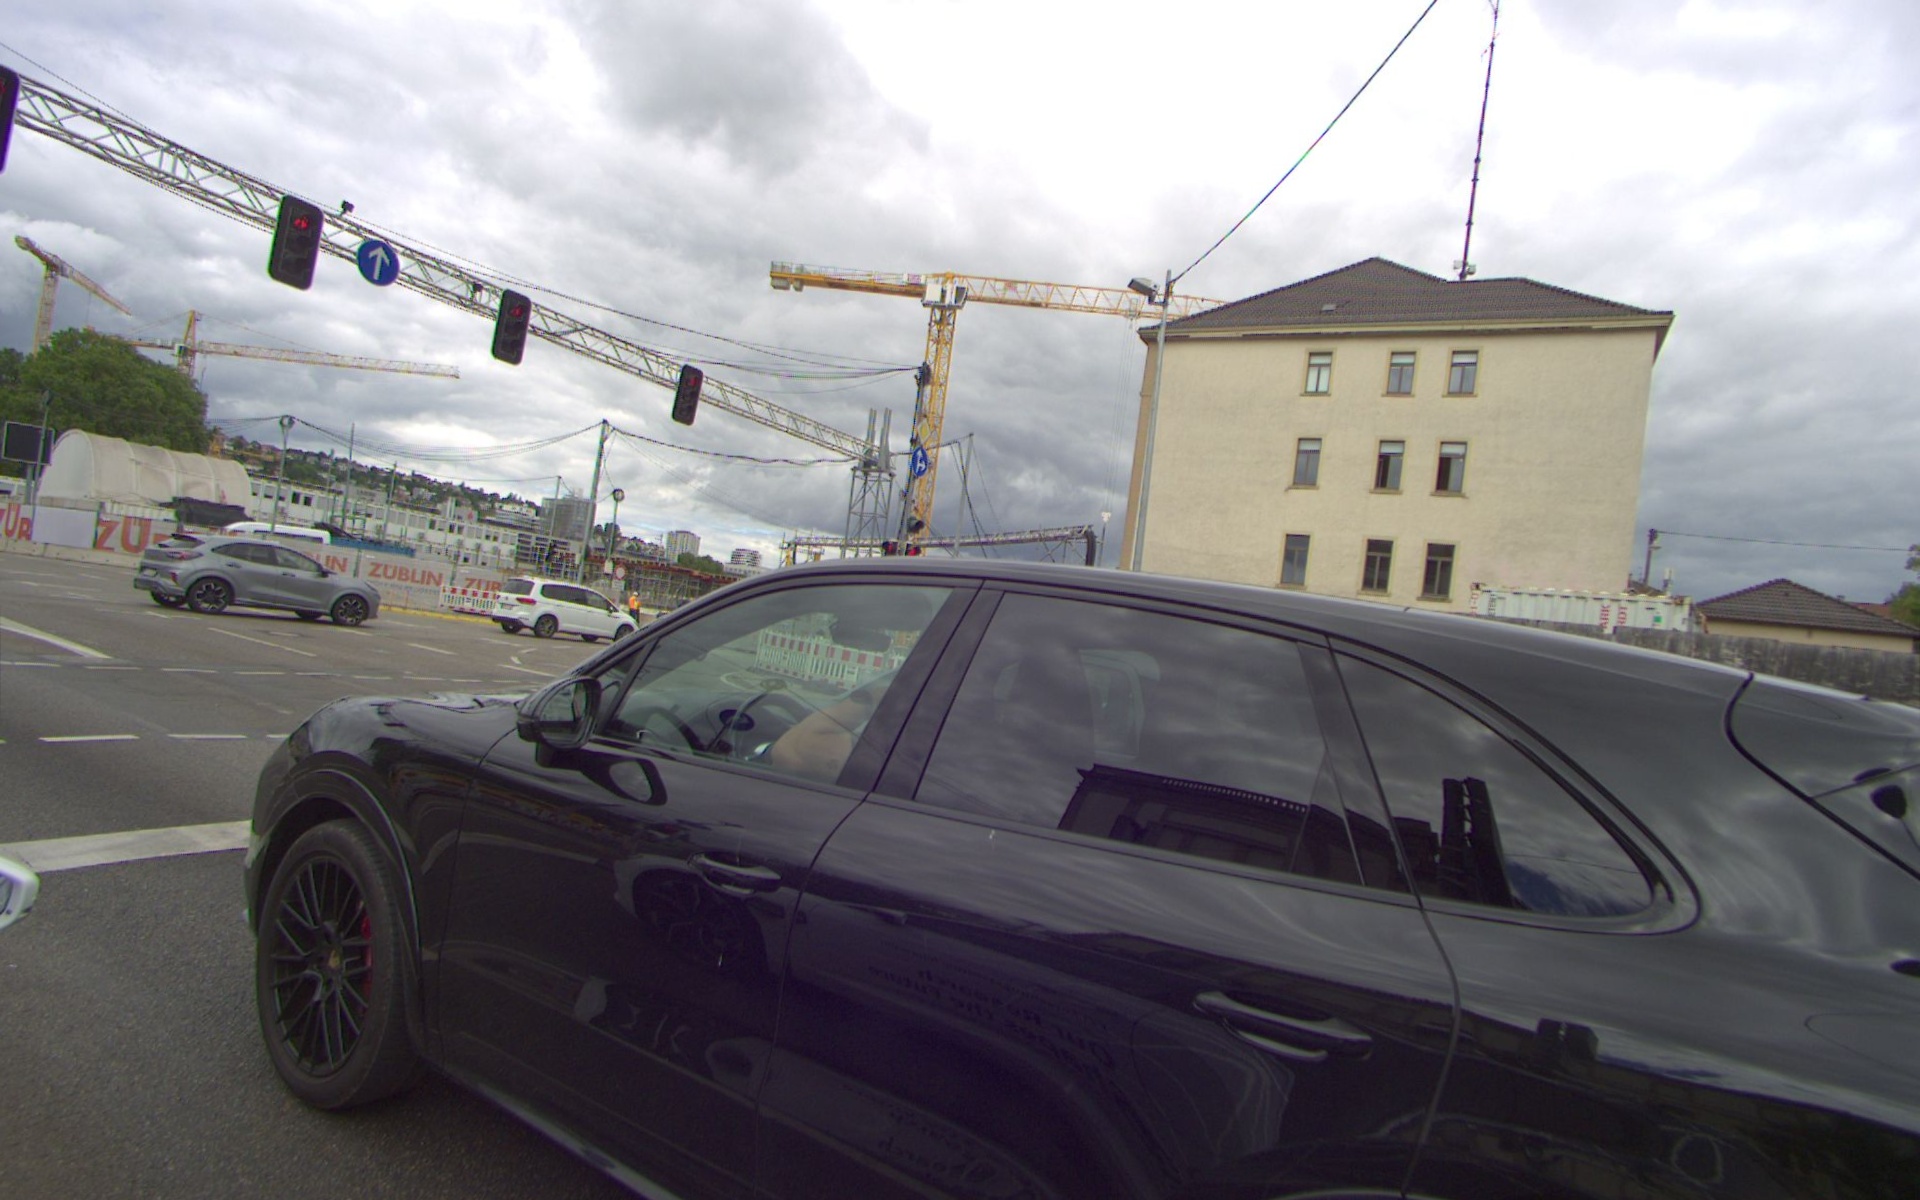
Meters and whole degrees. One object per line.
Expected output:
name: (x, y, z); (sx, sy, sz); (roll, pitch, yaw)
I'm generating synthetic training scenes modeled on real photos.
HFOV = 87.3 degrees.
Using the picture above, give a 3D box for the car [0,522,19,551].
car: (-63.466, -4.365, 64.798); (1.974, 1.747, 3.981); (6, -3, 43)

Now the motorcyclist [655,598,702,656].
motorcyclist: (-8.406, 0.811, 30.062); (0.804, 1.589, 0.880); (6, -1, 32)

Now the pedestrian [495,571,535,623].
pedestrian: (-17.315, -0.107, 39.130); (1.040, 1.869, 0.781); (8, -1, -42)

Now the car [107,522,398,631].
car: (-14.199, -0.408, 20.473); (1.966, 1.557, 4.305); (6, -2, 29)

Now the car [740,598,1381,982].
car: (0.587, 0.996, 6.550); (3.587, 1.527, 1.825); (6, -2, 33)

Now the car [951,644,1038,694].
car: (1.613, 3.166, 45.530); (1.967, 1.826, 4.279); (6, -2, 31)

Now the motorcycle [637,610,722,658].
motorcycle: (-8.376, 1.045, 30.152); (0.804, 1.168, 2.427); (6, -2, 32)

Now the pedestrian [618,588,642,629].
pedestrian: (-17.631, 0.450, 53.825); (0.855, 2.037, 0.677); (6, -1, 44)

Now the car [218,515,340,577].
car: (-29.517, -2.320, 43.642); (3.976, 2.037, 1.976); (9, -2, -43)

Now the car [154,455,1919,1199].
car: (0.006, 0.687, 2.714); (4.505, 1.687, 1.996); (6, -2, 34)

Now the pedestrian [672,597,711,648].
pedestrian: (-11.635, 0.972, 43.588); (1.031, 2.037, 1.031); (6, -1, 38)

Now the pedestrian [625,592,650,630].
pedestrian: (-17.543, 0.599, 54.790); (0.850, 1.938, 0.680); (7, -1, 26)

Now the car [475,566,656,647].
car: (-11.674, 0.245, 30.106); (1.967, 1.720, 4.682); (6, -3, 32)

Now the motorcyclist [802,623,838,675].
motorcyclist: (-4.716, 1.658, 33.923); (0.641, 1.615, 0.787); (6, -1, 32)
